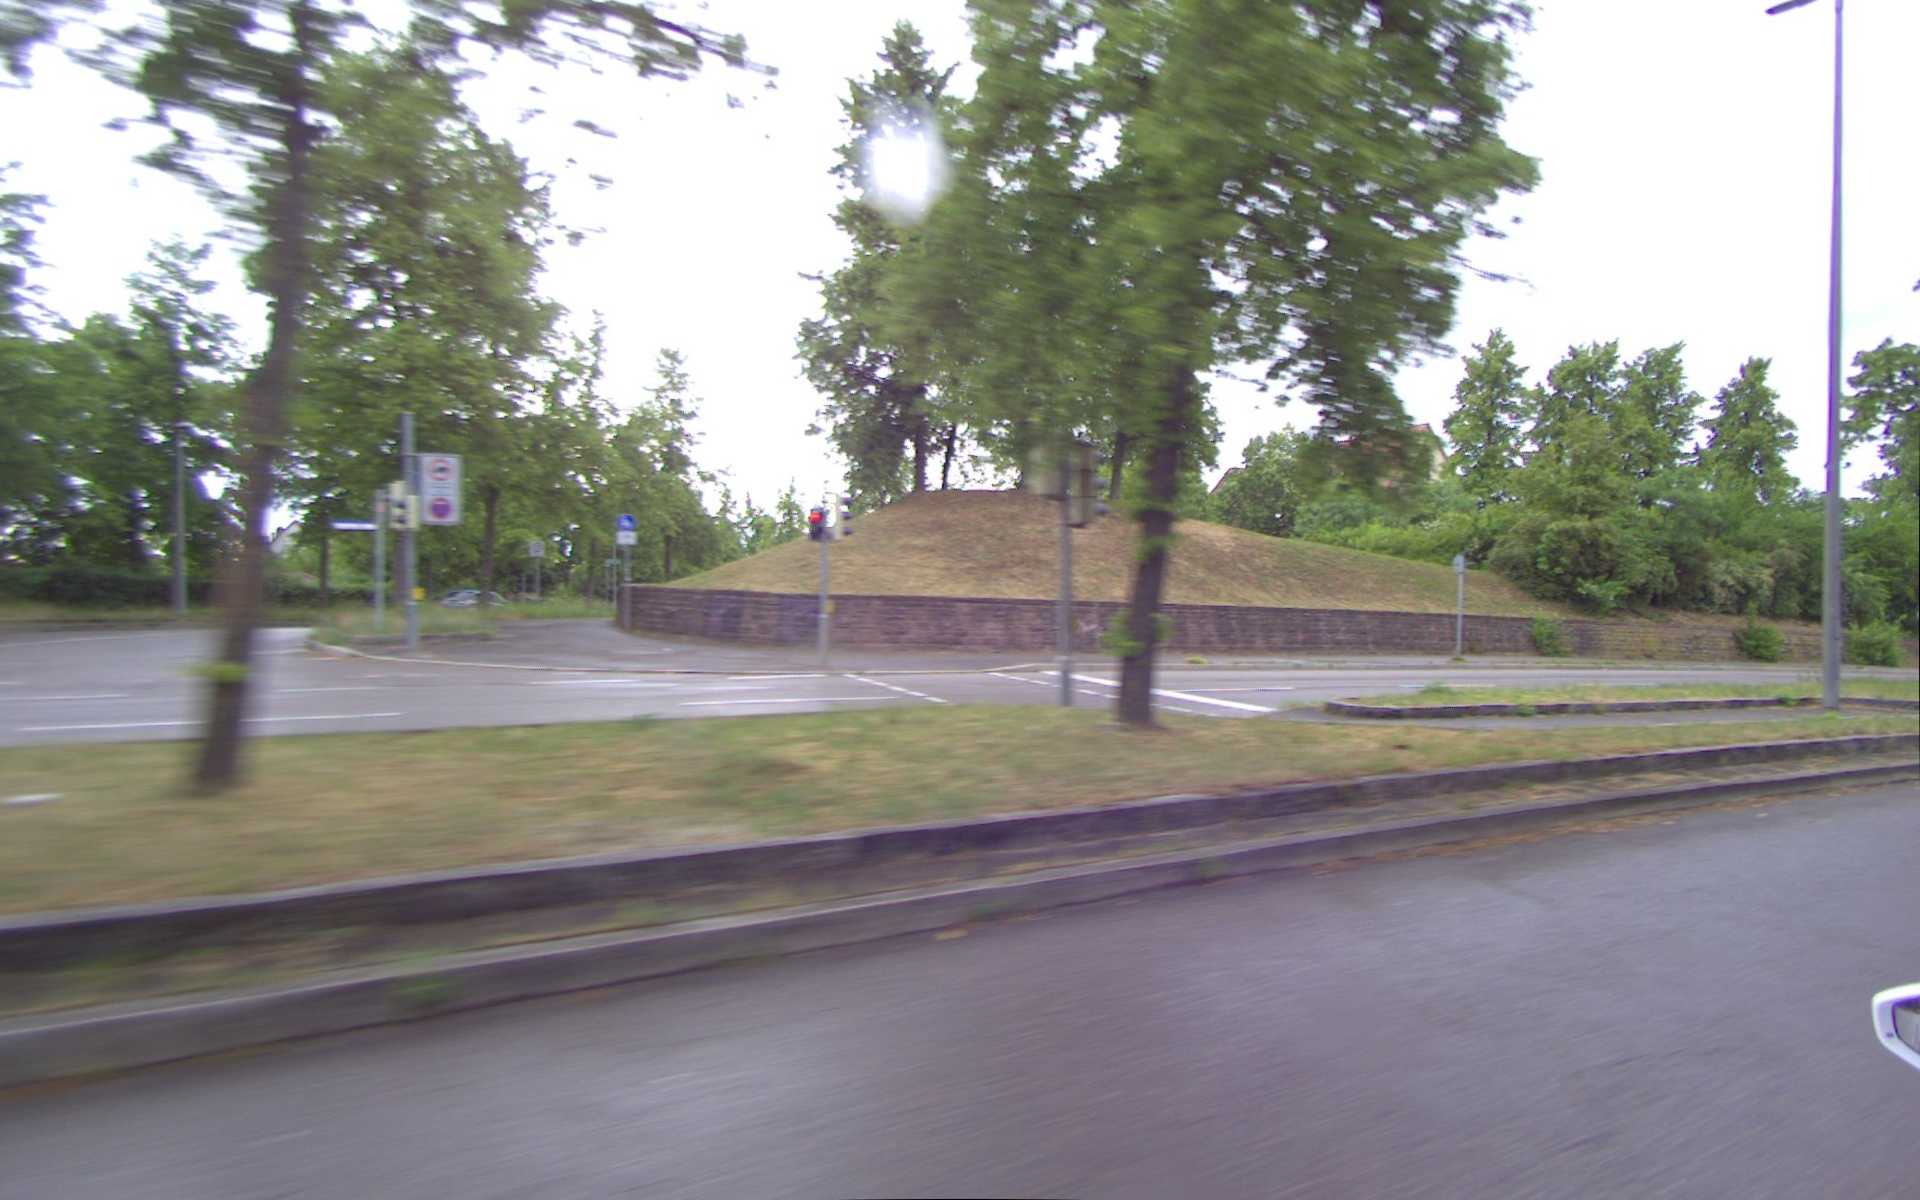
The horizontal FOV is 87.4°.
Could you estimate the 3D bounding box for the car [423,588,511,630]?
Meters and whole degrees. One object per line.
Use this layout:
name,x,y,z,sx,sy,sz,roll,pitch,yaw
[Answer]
car,-19.297,0.318,39.473,1.963,1.510,3.931,1,1,-8

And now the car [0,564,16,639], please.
car,-19.585,0.021,18.389,1.732,1.498,3.687,2,0,-14
